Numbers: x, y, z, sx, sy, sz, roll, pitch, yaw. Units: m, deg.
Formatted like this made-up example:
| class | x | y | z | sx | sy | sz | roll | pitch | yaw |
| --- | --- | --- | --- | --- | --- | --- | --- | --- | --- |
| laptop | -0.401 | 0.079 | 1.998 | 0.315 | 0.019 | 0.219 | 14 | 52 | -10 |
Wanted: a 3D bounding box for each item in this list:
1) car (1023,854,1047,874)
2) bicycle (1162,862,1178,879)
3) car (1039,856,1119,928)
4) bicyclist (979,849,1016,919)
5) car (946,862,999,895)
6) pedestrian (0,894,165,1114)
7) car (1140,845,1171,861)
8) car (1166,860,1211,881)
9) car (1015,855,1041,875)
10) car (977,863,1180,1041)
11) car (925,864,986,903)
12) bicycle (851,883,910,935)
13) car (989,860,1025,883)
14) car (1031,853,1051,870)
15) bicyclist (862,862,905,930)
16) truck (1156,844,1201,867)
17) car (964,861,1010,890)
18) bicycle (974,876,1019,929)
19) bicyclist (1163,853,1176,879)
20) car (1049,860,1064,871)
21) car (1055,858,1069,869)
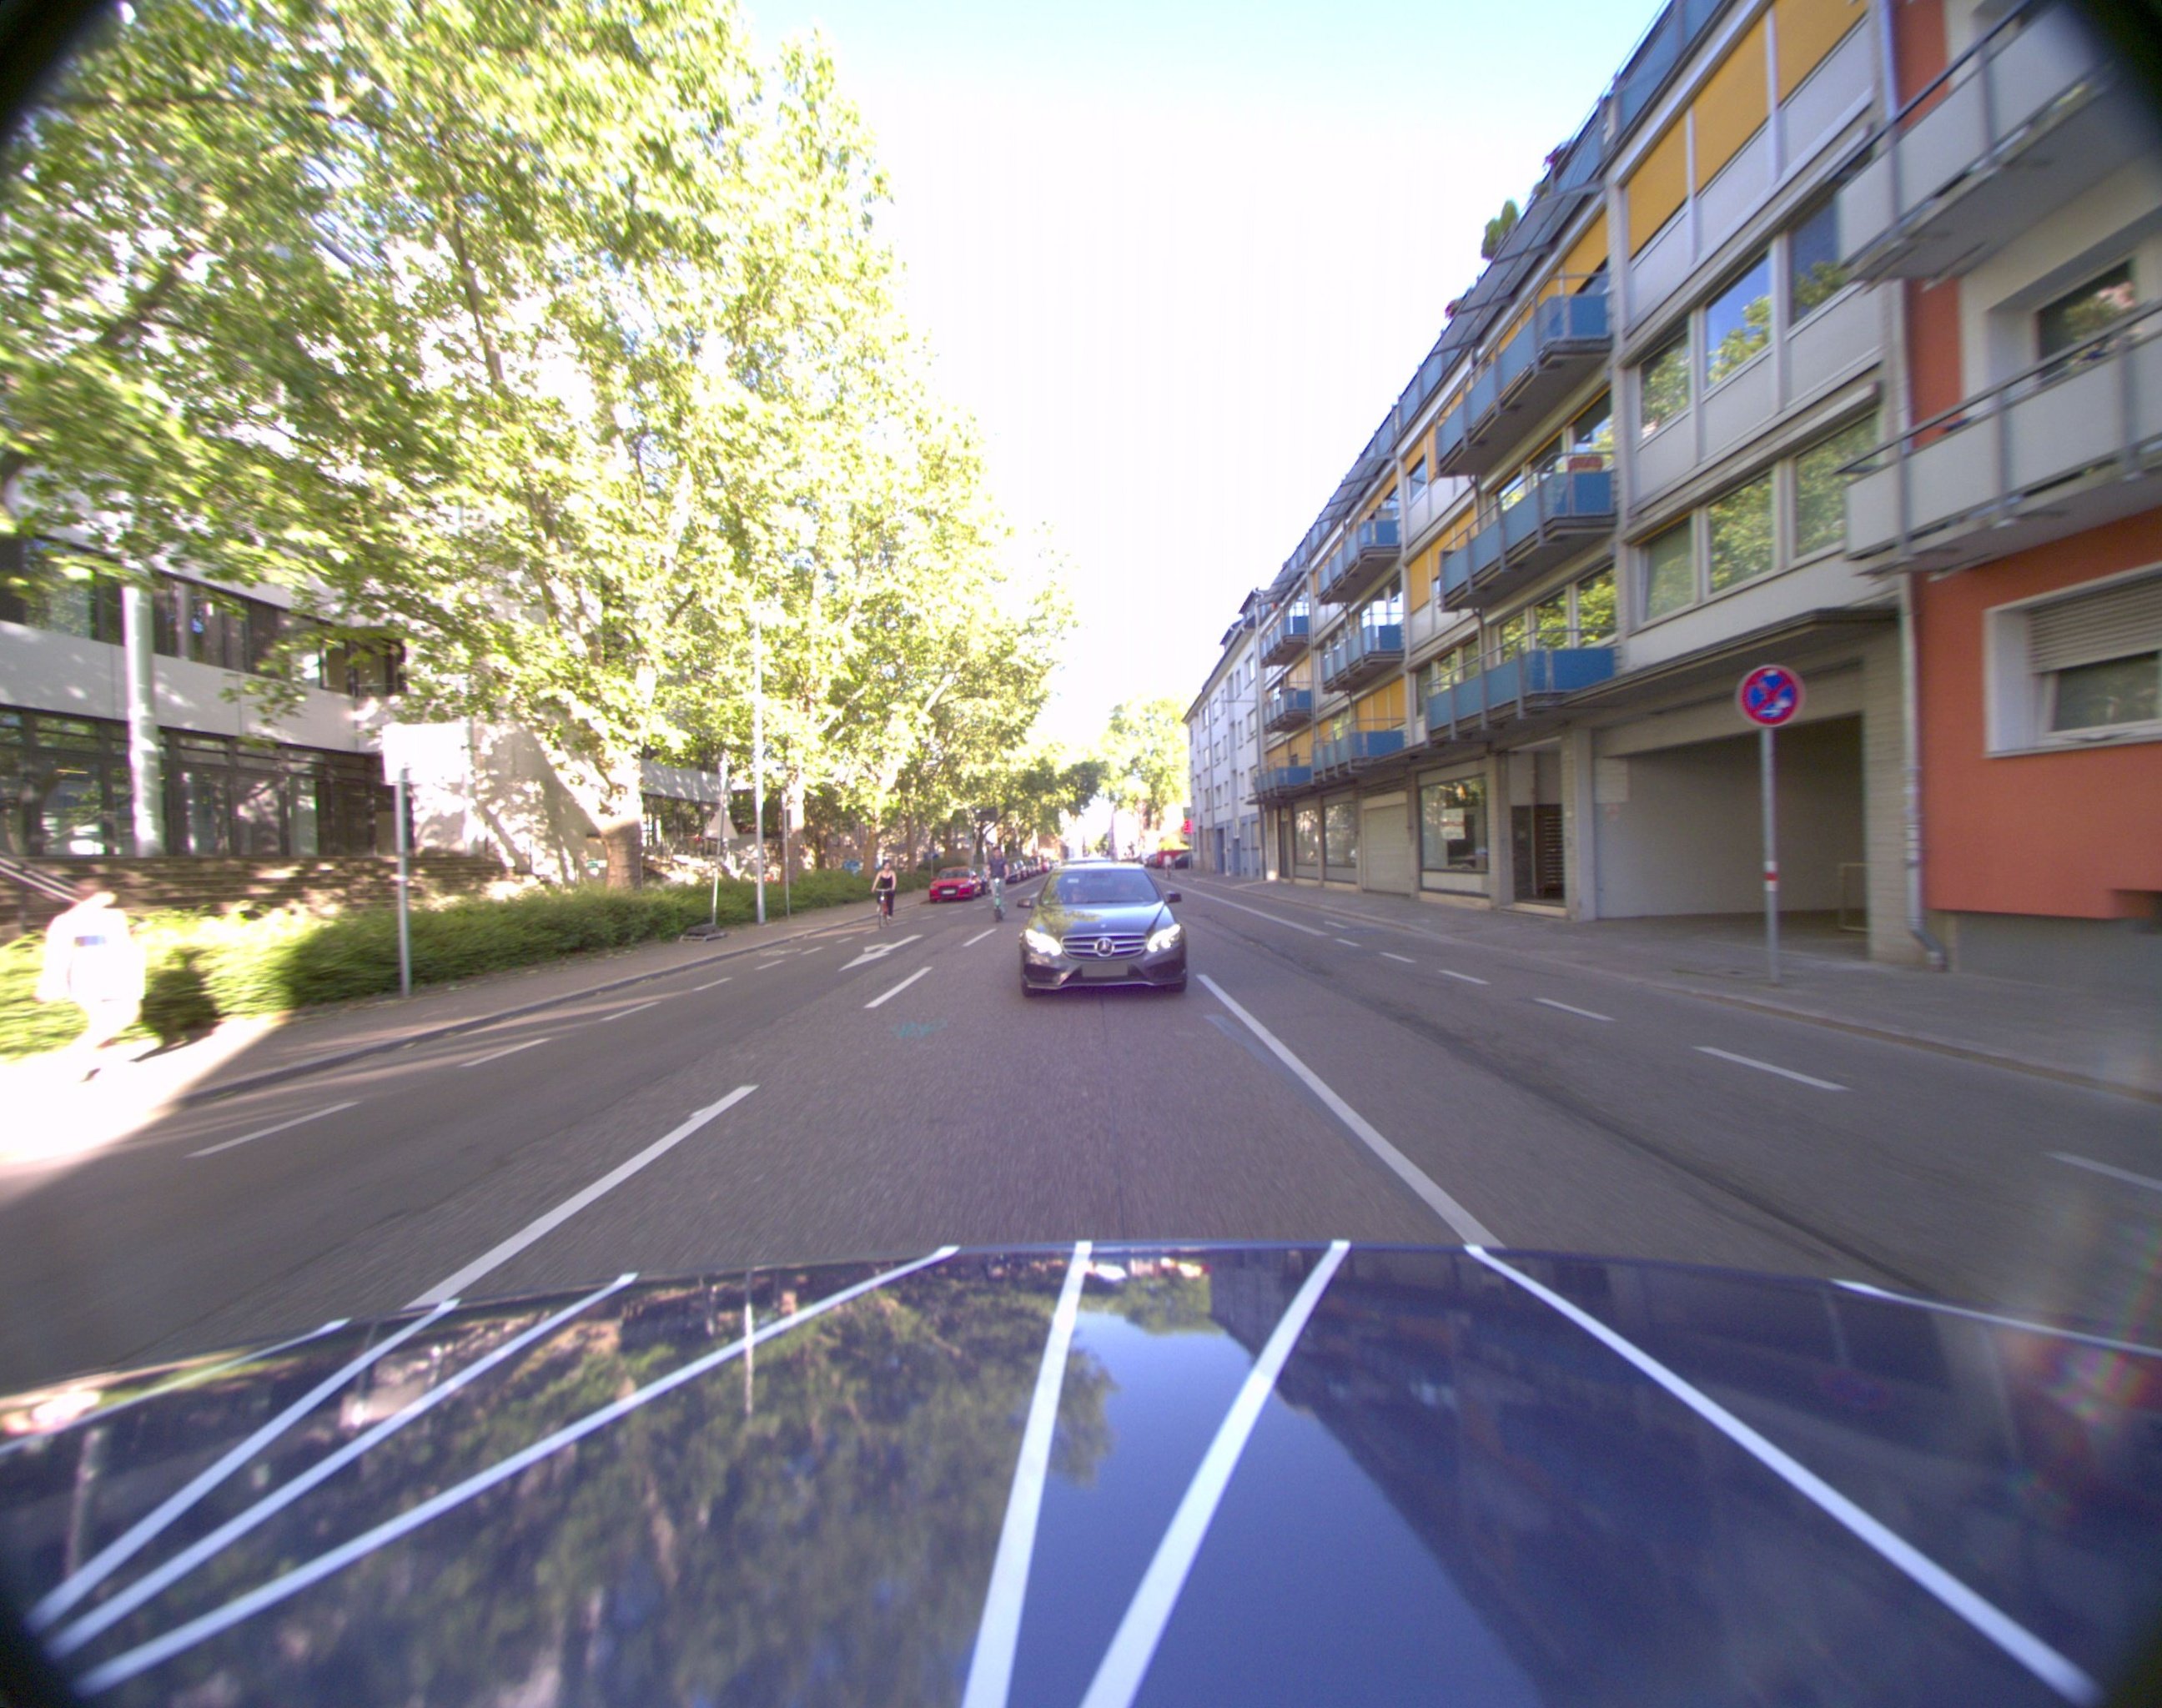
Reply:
| class | x | y | z | sx | sy | sz | roll | pitch | yaw |
| --- | --- | --- | --- | --- | --- | --- | --- | --- | --- |
| car | -4.465 | 0.935 | 74.290 | 1.898 | 1.840 | 4.077 | -2 | 0 | 1 |
| bicycle | 5.714 | 1.070 | 48.851 | 0.692 | 0.980 | 2.631 | -1 | 1 | 0 |
| car | 0.061 | 0.912 | 19.996 | 1.746 | 1.594 | 4.001 | -2 | 1 | 4 |
| bicyclist | -2.161 | 0.751 | 19.739 | 0.770 | 1.723 | 0.901 | -4 | 1 | -1 |
| car | -5.237 | 1.159 | 37.161 | 1.898 | 1.439 | 4.077 | -2 | 0 | 1 |
| pedestrian | -7.922 | 1.139 | 5.998 | 0.462 | 1.585 | 0.682 | -2 | 1 | -1 |
| car | 10.234 | -0.196 | 104.278 | 3.997 | 2.002 | 1.999 | -2 | 1 | -1 |
| car | 10.412 | 1.573 | 73.796 | 3.997 | 1.825 | 1.830 | -2 | 1 | -1 |
| car | -4.818 | 0.974 | 69.535 | 1.898 | 1.641 | 4.077 | -2 | 0 | 1 |
| car | 0.223 | 0.969 | 9.515 | 1.798 | 1.460 | 4.721 | -5 | 0 | 6 |
| car | -5.275 | 1.226 | 32.442 | 1.898 | 1.435 | 4.076 | -2 | 0 | -1 |
| bicycle | -5.131 | 1.373 | 19.674 | 0.770 | 1.129 | 2.815 | -2 | -1 | -1 |
| car | -4.999 | 1.156 | 52.052 | 1.898 | 1.443 | 4.077 | -2 | 0 | 1 |
| car | -4.449 | 0.845 | 85.280 | 1.898 | 1.807 | 4.077 | -2 | 0 | 1 |
| bicyclist | -5.152 | 1.081 | 19.869 | 0.770 | 1.670 | 0.895 | -4 | 1 | -1 |
| truck | 10.119 | 0.129 | 79.056 | 4.404 | 2.146 | 1.877 | -2 | 1 | -1 |
| car | -5.233 | 1.174 | 42.663 | 1.898 | 1.443 | 4.077 | -2 | 0 | 1 |
| bicycle | -2.129 | 1.194 | 19.503 | 0.770 | 1.129 | 2.815 | -4 | 1 | 0 |
| bicyclist | 5.707 | 0.745 | 48.881 | 0.692 | 1.621 | 0.758 | -1 | 1 | -1 |
| car | -3.513 | 1.661 | 111.402 | 1.898 | 1.542 | 4.077 | -2 | 0 | 1 |
| car | -3.061 | 1.538 | 121.451 | 1.898 | 1.542 | 4.077 | -2 | 0 | 1 |
